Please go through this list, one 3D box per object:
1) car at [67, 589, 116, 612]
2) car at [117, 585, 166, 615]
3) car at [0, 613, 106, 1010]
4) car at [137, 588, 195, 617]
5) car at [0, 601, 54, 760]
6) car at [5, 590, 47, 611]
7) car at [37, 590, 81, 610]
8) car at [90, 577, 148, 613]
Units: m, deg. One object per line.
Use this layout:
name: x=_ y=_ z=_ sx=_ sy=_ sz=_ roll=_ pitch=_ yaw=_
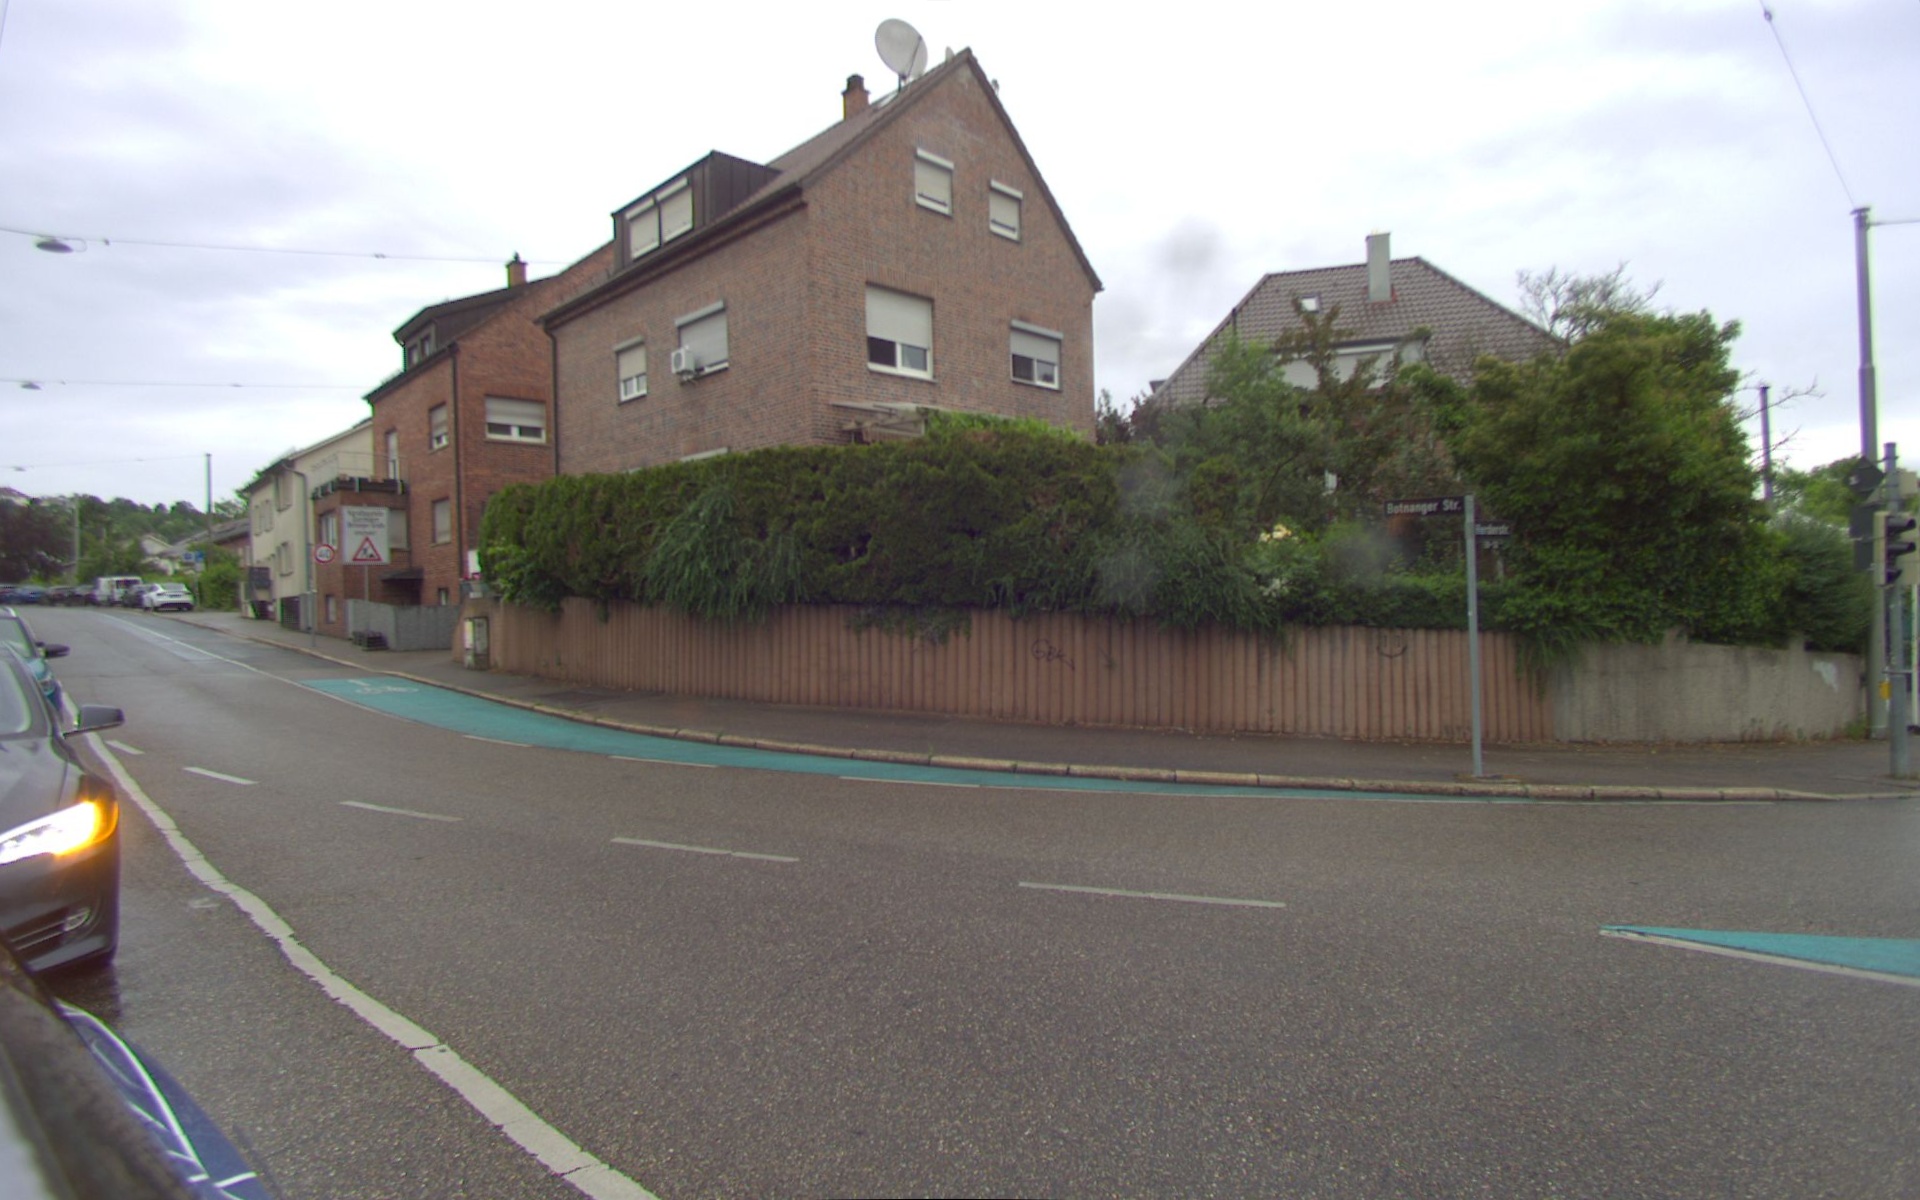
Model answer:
car: x=-61.467 y=0.052 z=71.593 sx=4.002 sy=1.501 sz=1.636 roll=-1 pitch=2 yaw=34
car: x=-52.365 y=-0.014 z=64.720 sx=4.262 sy=1.817 sz=1.791 roll=0 pitch=2 yaw=42
car: x=-5.390 y=0.800 z=4.698 sx=4.002 sy=1.426 sz=1.845 roll=0 pitch=0 yaw=45
car: x=-46.416 y=0.158 z=59.127 sx=4.262 sy=1.577 sz=1.921 roll=0 pitch=2 yaw=42
car: x=-11.311 y=0.810 z=11.153 sx=3.785 sy=1.601 sz=1.765 roll=0 pitch=0 yaw=45
car: x=-71.219 y=0.030 z=77.131 sx=3.895 sy=1.501 sz=1.605 roll=-1 pitch=2 yaw=36
car: x=-66.595 y=0.026 z=74.767 sx=3.854 sy=1.407 sz=1.635 roll=-1 pitch=2 yaw=36
car: x=-57.011 y=-0.324 z=68.577 sx=4.544 sy=2.303 sz=2.229 roll=0 pitch=2 yaw=41
